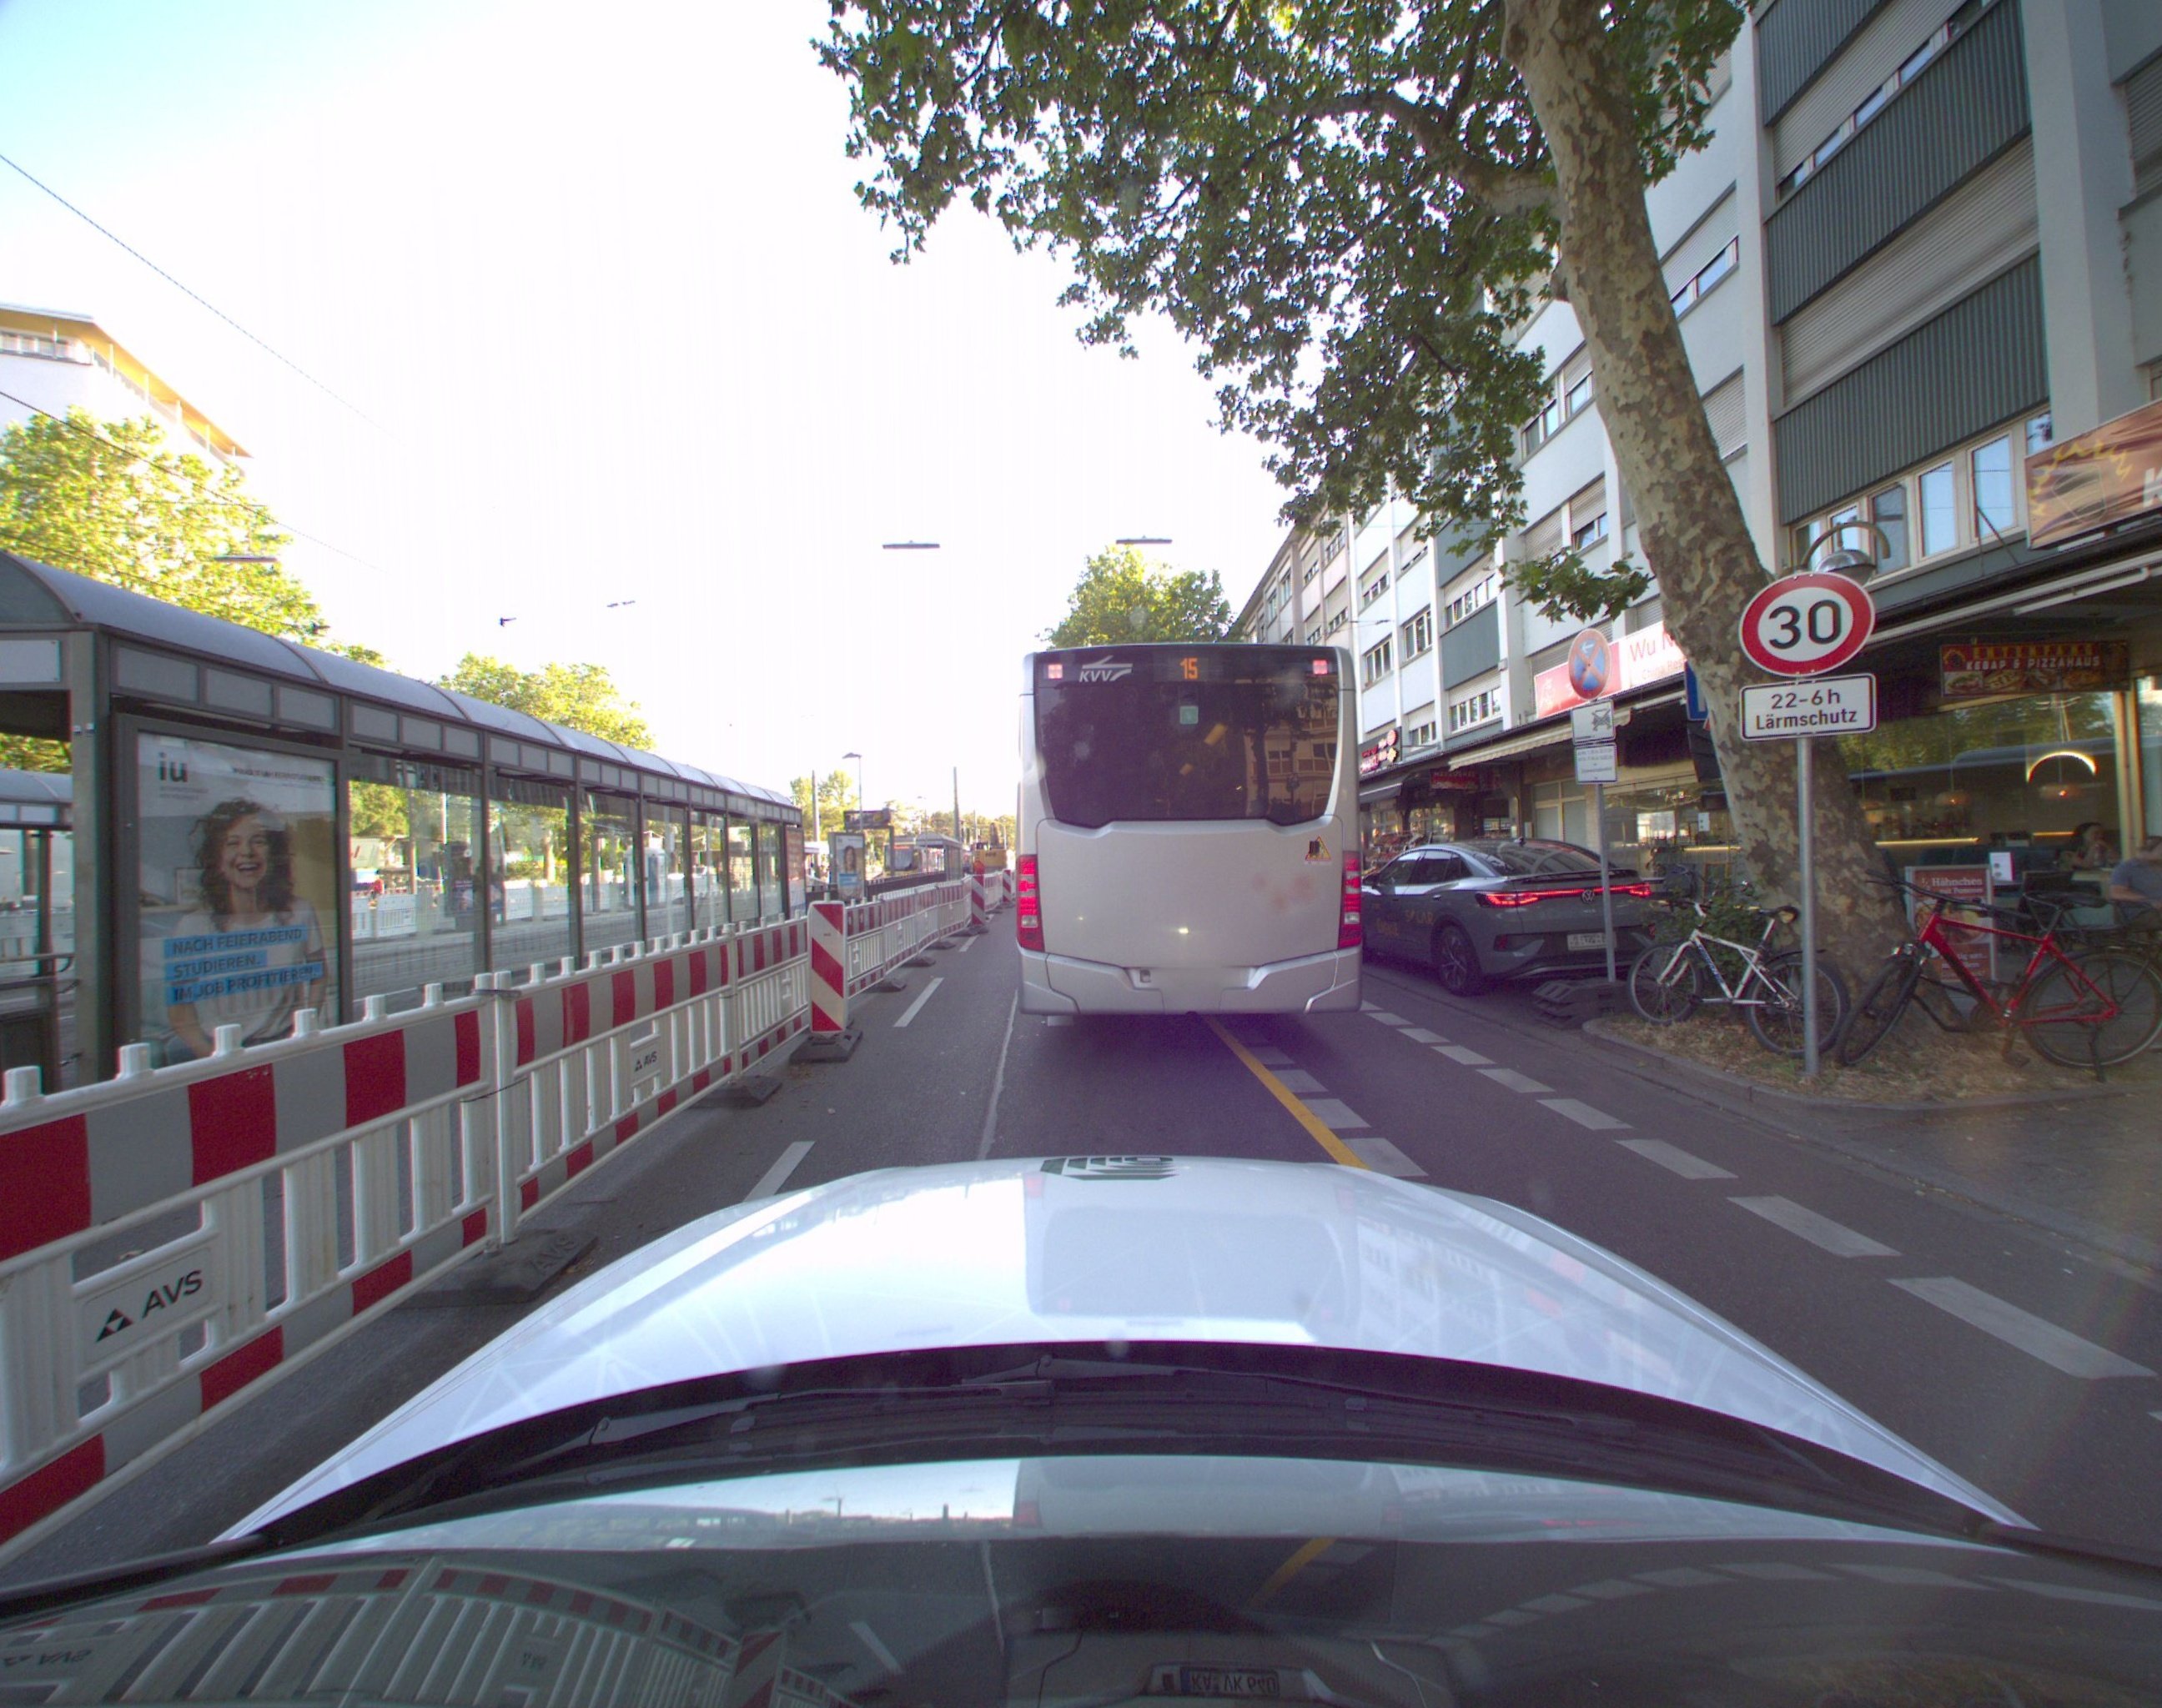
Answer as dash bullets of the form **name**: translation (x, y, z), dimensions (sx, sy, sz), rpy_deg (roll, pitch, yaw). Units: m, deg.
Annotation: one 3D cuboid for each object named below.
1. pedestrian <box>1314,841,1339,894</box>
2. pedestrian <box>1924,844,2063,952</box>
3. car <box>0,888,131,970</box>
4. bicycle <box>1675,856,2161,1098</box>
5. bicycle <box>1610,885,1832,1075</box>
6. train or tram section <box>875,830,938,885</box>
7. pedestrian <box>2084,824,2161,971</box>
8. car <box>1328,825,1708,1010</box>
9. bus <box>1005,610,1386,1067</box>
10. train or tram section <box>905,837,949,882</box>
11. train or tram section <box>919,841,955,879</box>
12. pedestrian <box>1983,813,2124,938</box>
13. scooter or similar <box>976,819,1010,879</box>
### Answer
- **pedestrian**: translation (8.002, 0.439, 26.544), dimensions (0.658, 1.666, 0.603), rpy_deg (-4, -1, 18)
- **pedestrian**: translation (9.853, 0.455, 8.805), dimensions (0.643, 1.081, 0.945), rpy_deg (-2, -1, -39)
- **car**: translation (-23.940, 1.661, 17.653), dimensions (1.988, 1.662, 3.997), rpy_deg (-2, 0, -1)
- **bicycle**: translation (5.049, 0.723, 4.797), dimensions (2.370, 1.155, 0.557), rpy_deg (-7, -2, 14)
- **bicycle**: translation (4.566, 0.837, 5.939), dimensions (0.550, 1.155, 1.446), rpy_deg (-2, -1, 6)
- **train or tram section**: translation (-12.362, 0.290, 58.870), dimensions (2.681, 3.534, 11.756), rpy_deg (0, -1, -3)
- **pedestrian**: translation (9.619, 0.368, 7.217), dimensions (0.555, 1.245, 0.692), rpy_deg (-4, 0, 8)
- **car**: translation (4.736, 0.581, 9.752), dimensions (1.989, 1.582, 4.364), rpy_deg (-4, 0, -3)
- **bus**: translation (0.914, -0.081, 9.590), dimensions (2.601, 3.126, 7.996), rpy_deg (0, 0, 2)
- **train or tram section**: translation (-13.173, 0.465, 70.527), dimensions (2.682, 3.558, 11.559), rpy_deg (0, -1, -5)
- **train or tram section**: translation (-14.340, 0.602, 82.037), dimensions (2.683, 3.533, 11.558), rpy_deg (0, -1, -6)
- **pedestrian**: translation (11.074, 0.230, 9.296), dimensions (0.836, 1.333, 0.963), rpy_deg (-2, -1, -39)
- **scooter or similar**: translation (-6.945, -0.332, 64.757), dimensions (2.465, 4.471, 5.961), rpy_deg (-2, -1, -5)
